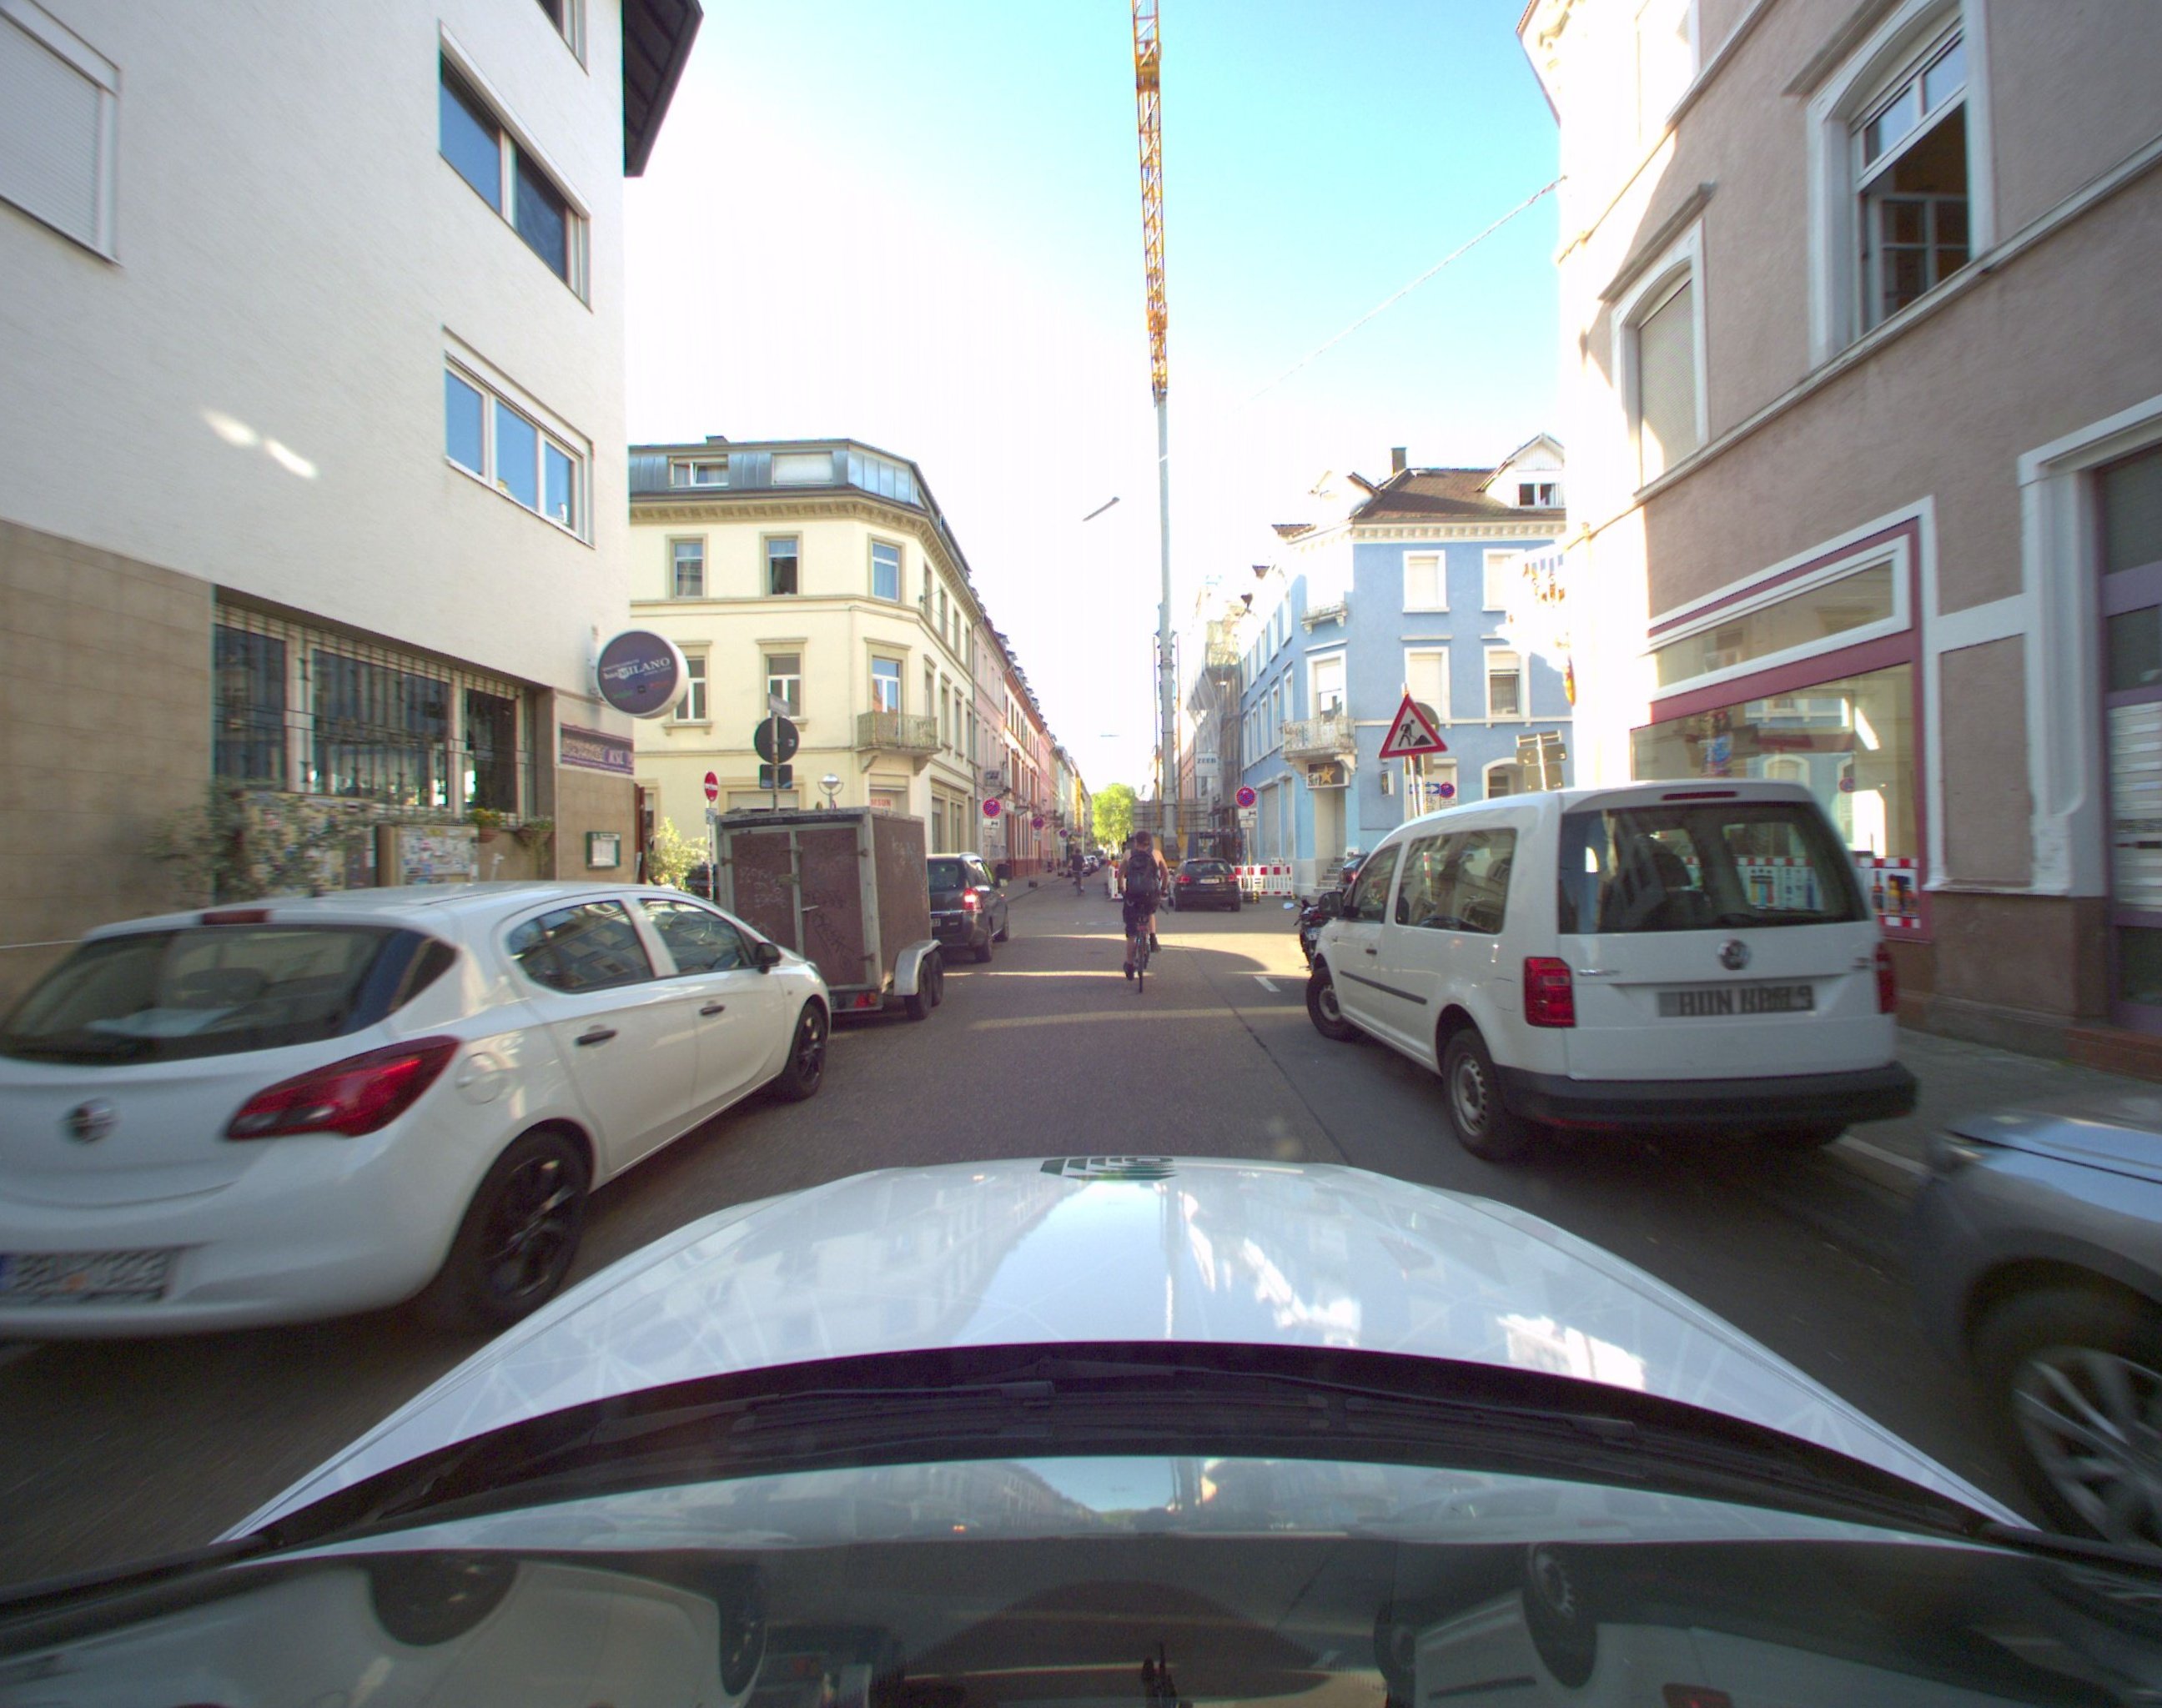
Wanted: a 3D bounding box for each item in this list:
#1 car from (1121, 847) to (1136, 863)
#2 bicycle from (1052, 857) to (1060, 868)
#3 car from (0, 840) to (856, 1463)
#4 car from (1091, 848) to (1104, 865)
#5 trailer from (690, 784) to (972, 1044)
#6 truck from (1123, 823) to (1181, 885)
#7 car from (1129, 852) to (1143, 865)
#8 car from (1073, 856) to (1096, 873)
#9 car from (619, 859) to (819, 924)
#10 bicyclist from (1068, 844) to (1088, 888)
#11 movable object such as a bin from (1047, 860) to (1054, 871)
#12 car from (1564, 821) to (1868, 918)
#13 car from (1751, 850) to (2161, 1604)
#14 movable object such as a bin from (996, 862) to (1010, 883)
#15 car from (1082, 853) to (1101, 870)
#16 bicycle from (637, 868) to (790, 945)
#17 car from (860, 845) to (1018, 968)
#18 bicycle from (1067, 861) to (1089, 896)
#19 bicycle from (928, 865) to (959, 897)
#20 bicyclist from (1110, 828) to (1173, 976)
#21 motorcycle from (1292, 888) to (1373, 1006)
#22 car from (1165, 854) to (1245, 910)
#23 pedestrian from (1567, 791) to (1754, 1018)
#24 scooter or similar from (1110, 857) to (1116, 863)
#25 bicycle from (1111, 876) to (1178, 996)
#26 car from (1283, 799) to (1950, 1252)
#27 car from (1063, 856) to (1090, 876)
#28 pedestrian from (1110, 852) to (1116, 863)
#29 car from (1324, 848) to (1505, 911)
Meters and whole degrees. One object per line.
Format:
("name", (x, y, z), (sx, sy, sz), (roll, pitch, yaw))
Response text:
("car", (7.979, 0.128, 137.917), (2.299, 2.538, 6.773), (-3, -1, 2))
("bicycle", (-2.465, 0.832, 81.294), (0.590, 1.089, 2.080), (0, -1, 3))
("car", (-2.566, 0.793, 4.008), (1.670, 1.554, 3.820), (-3, -1, 2))
("car", (2.508, 0.423, 126.992), (1.903, 2.497, 4.165), (-2, 0, 0))
("trailer", (-2.356, 0.511, 8.906), (1.656, 2.061, 4.362), (-3, -1, 0))
("truck", (3.430, 0.027, 40.817), (2.650, 2.814, 7.398), (0, 0, 3))
("car", (7.160, 0.641, 105.999), (1.614, 1.550, 4.002), (-3, -1, 2))
("car", (0.343, 0.890, 72.341), (1.703, 1.383, 4.361), (-1, 1, 5))
("car", (-8.884, 0.899, 20.224), (4.126, 1.455, 1.759), (-1, 0, 0))
("bicyclist", (-0.104, 0.452, 31.222), (0.699, 1.605, 0.813), (-2, 1, 2))
("movable object such as a bin", (-2.554, 0.944, 68.331), (0.541, 0.945, 0.488), (0, -1, 3))
("car", (11.435, 0.304, 14.910), (4.043, 1.632, 1.857), (-1, -2, 2))
("car", (2.815, 0.697, 0.532), (1.602, 1.408, 3.883), (-3, -1, 2))
("movable object such as a bin", (-3.906, 0.912, 40.862), (0.603, 1.035, 0.596), (0, -1, 1))
("car", (1.087, 0.733, 79.740), (1.665, 1.441, 4.167), (-3, -1, 2))
("bicycle", (-6.964, 0.973, 15.510), (2.465, 1.359, 0.929), (-1, -1, 2))
("car", (-2.106, 0.711, 13.218), (1.716, 1.605, 4.166), (-3, 0, 1))
("bicycle", (-0.094, 0.925, 31.336), (0.699, 1.208, 2.343), (-2, 1, 2))
("bicycle", (-4.647, 0.914, 27.649), (0.601, 1.022, 1.819), (3, -1, 3))
("bicyclist", (0.692, 0.534, 9.553), (0.699, 1.633, 1.091), (0, -1, 2))
("motorcycle", (2.782, 0.972, 9.185), (0.714, 1.086, 2.003), (1, 0, 13))
("car", (3.420, 0.739, 23.063), (1.765, 1.434, 4.035), (0, 0, 2))
("pedestrian", (5.003, 0.416, 7.109), (0.822, 1.792, 0.990), (-4, -1, 2))
("scooter or similar", (4.290, 0.818, 108.562), (0.767, 0.873, 0.771), (0, -1, 2))
("bicycle", (0.717, 0.882, 9.647), (0.699, 1.208, 2.343), (0, 0, 3))
("car", (2.767, 0.734, 5.587), (1.742, 1.816, 4.372), (-3, -1, 2))
("car", (-0.309, 0.928, 62.208), (1.704, 1.383, 4.508), (-3, -1, 2))
("pedestrian", (4.310, 0.473, 109.000), (0.767, 1.578, 0.901), (0, -1, 2))
("car", (8.220, 0.612, 20.328), (3.852, 1.453, 1.678), (-1, 0, 2))
